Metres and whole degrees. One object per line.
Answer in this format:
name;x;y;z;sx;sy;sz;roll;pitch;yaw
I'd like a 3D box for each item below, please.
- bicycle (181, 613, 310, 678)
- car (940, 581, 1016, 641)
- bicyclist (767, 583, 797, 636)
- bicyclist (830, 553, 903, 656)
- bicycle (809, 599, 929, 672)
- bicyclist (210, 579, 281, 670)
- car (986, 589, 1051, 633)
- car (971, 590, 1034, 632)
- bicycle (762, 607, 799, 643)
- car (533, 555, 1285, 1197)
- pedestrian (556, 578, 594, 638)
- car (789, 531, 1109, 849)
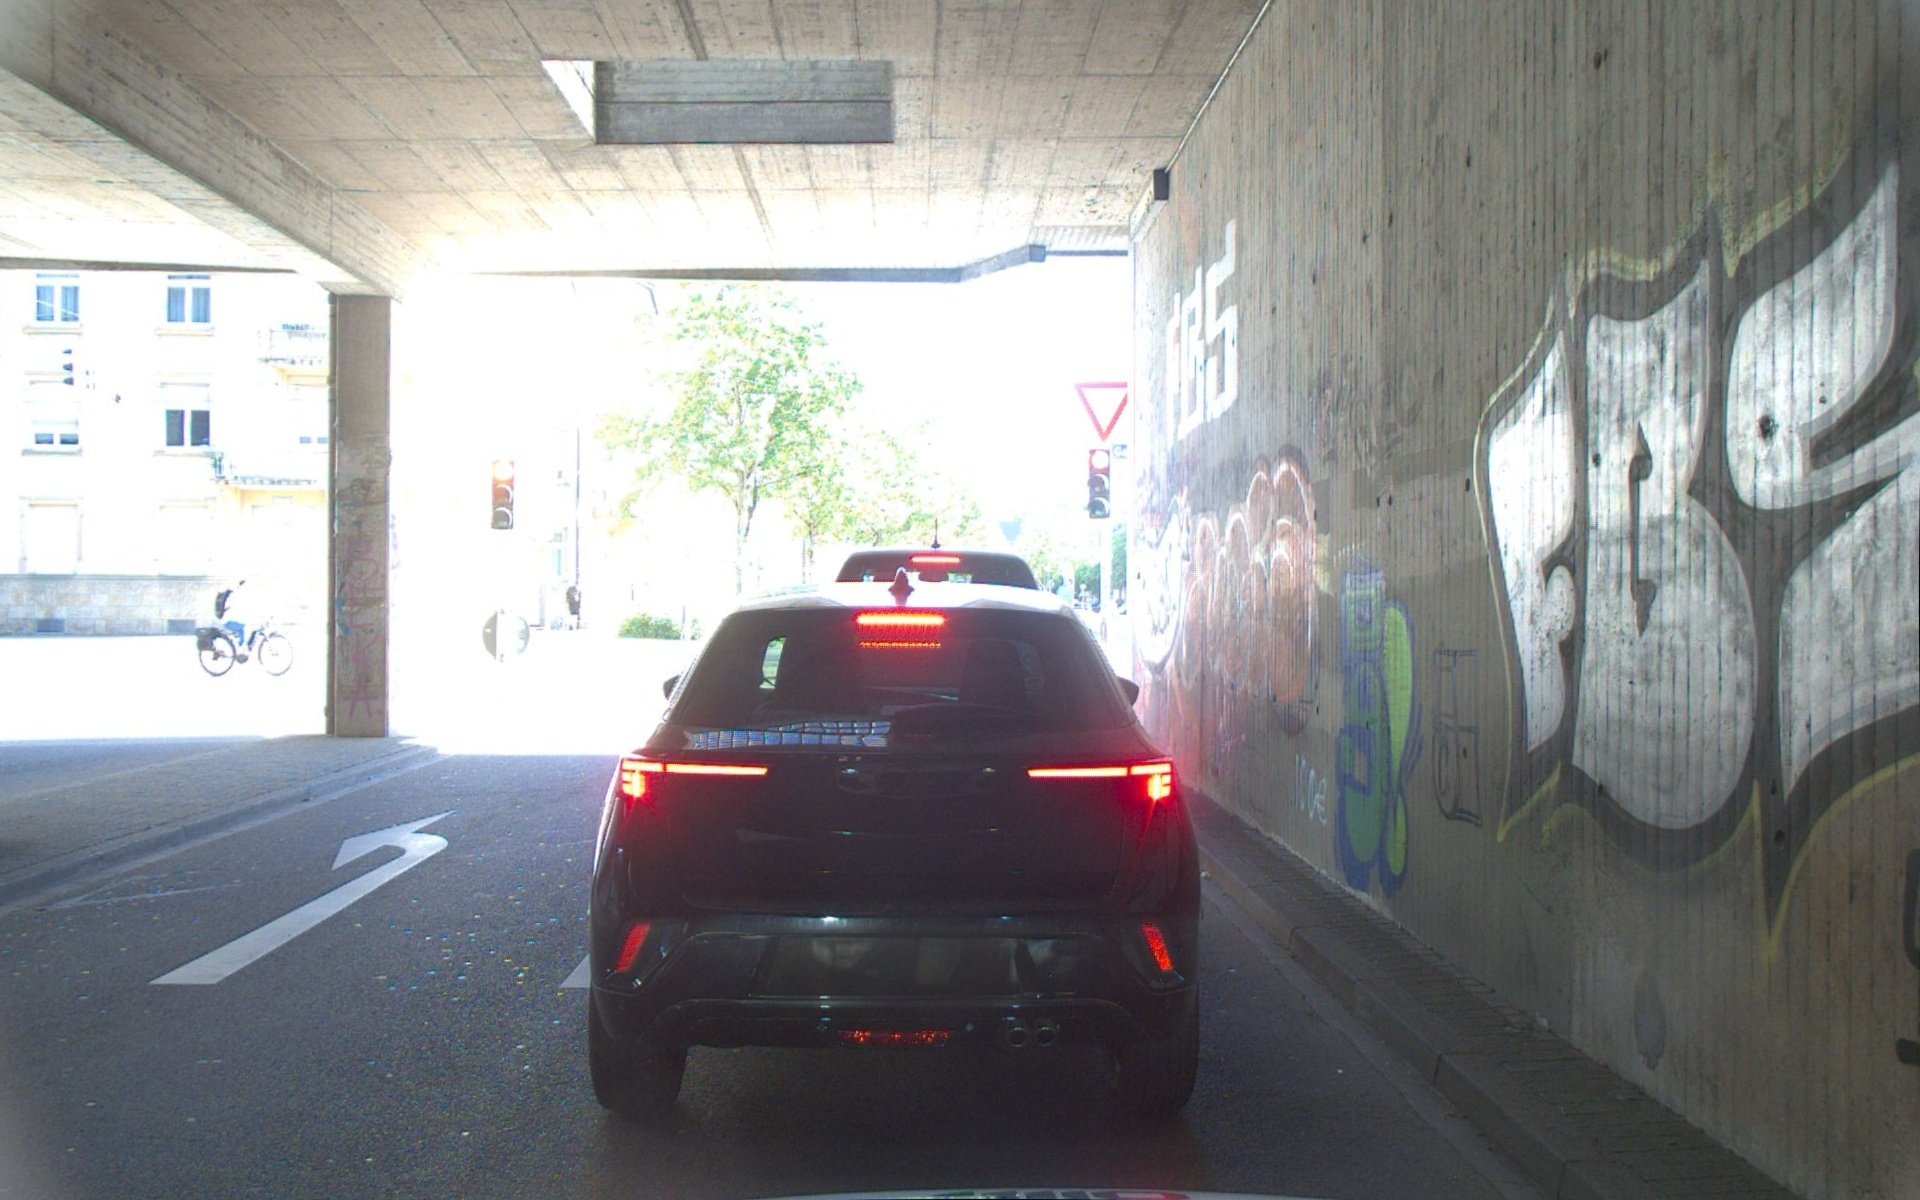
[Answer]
bicycle;-11.924;0.755;27.644;1.818;1.026;0.745;-1;0;-3
car;0.498;0.330;44.174;1.927;1.523;3.896;0;-1;1
bicyclist;-5.538;0.299;51.450;0.713;1.609;0.815;1;-1;9
bicyclist;-1.517;0.067;26.966;1.070;1.647;0.630;1;-1;6
bicycle;-1.474;0.573;26.953;1.863;1.134;0.611;1;0;6
bicyclist;-11.951;0.402;27.698;0.852;1.477;0.745;-1;0;-3
car;2.466;0.478;69.034;2.173;1.749;4.463;0;-1;9
car;1.621;0.436;62.212;1.926;1.523;3.899;0;-1;8
bicycle;-5.556;0.764;51.417;0.716;1.086;1.690;1;0;9
car;-0.150;0.665;6.055;1.844;1.565;3.963;0;0;-1
pedestrian;-13.337;0.276;57.288;0.971;2.049;1.089;0;0;7
car;-0.091;0.526;11.880;1.906;1.892;3.963;0;0;-1
